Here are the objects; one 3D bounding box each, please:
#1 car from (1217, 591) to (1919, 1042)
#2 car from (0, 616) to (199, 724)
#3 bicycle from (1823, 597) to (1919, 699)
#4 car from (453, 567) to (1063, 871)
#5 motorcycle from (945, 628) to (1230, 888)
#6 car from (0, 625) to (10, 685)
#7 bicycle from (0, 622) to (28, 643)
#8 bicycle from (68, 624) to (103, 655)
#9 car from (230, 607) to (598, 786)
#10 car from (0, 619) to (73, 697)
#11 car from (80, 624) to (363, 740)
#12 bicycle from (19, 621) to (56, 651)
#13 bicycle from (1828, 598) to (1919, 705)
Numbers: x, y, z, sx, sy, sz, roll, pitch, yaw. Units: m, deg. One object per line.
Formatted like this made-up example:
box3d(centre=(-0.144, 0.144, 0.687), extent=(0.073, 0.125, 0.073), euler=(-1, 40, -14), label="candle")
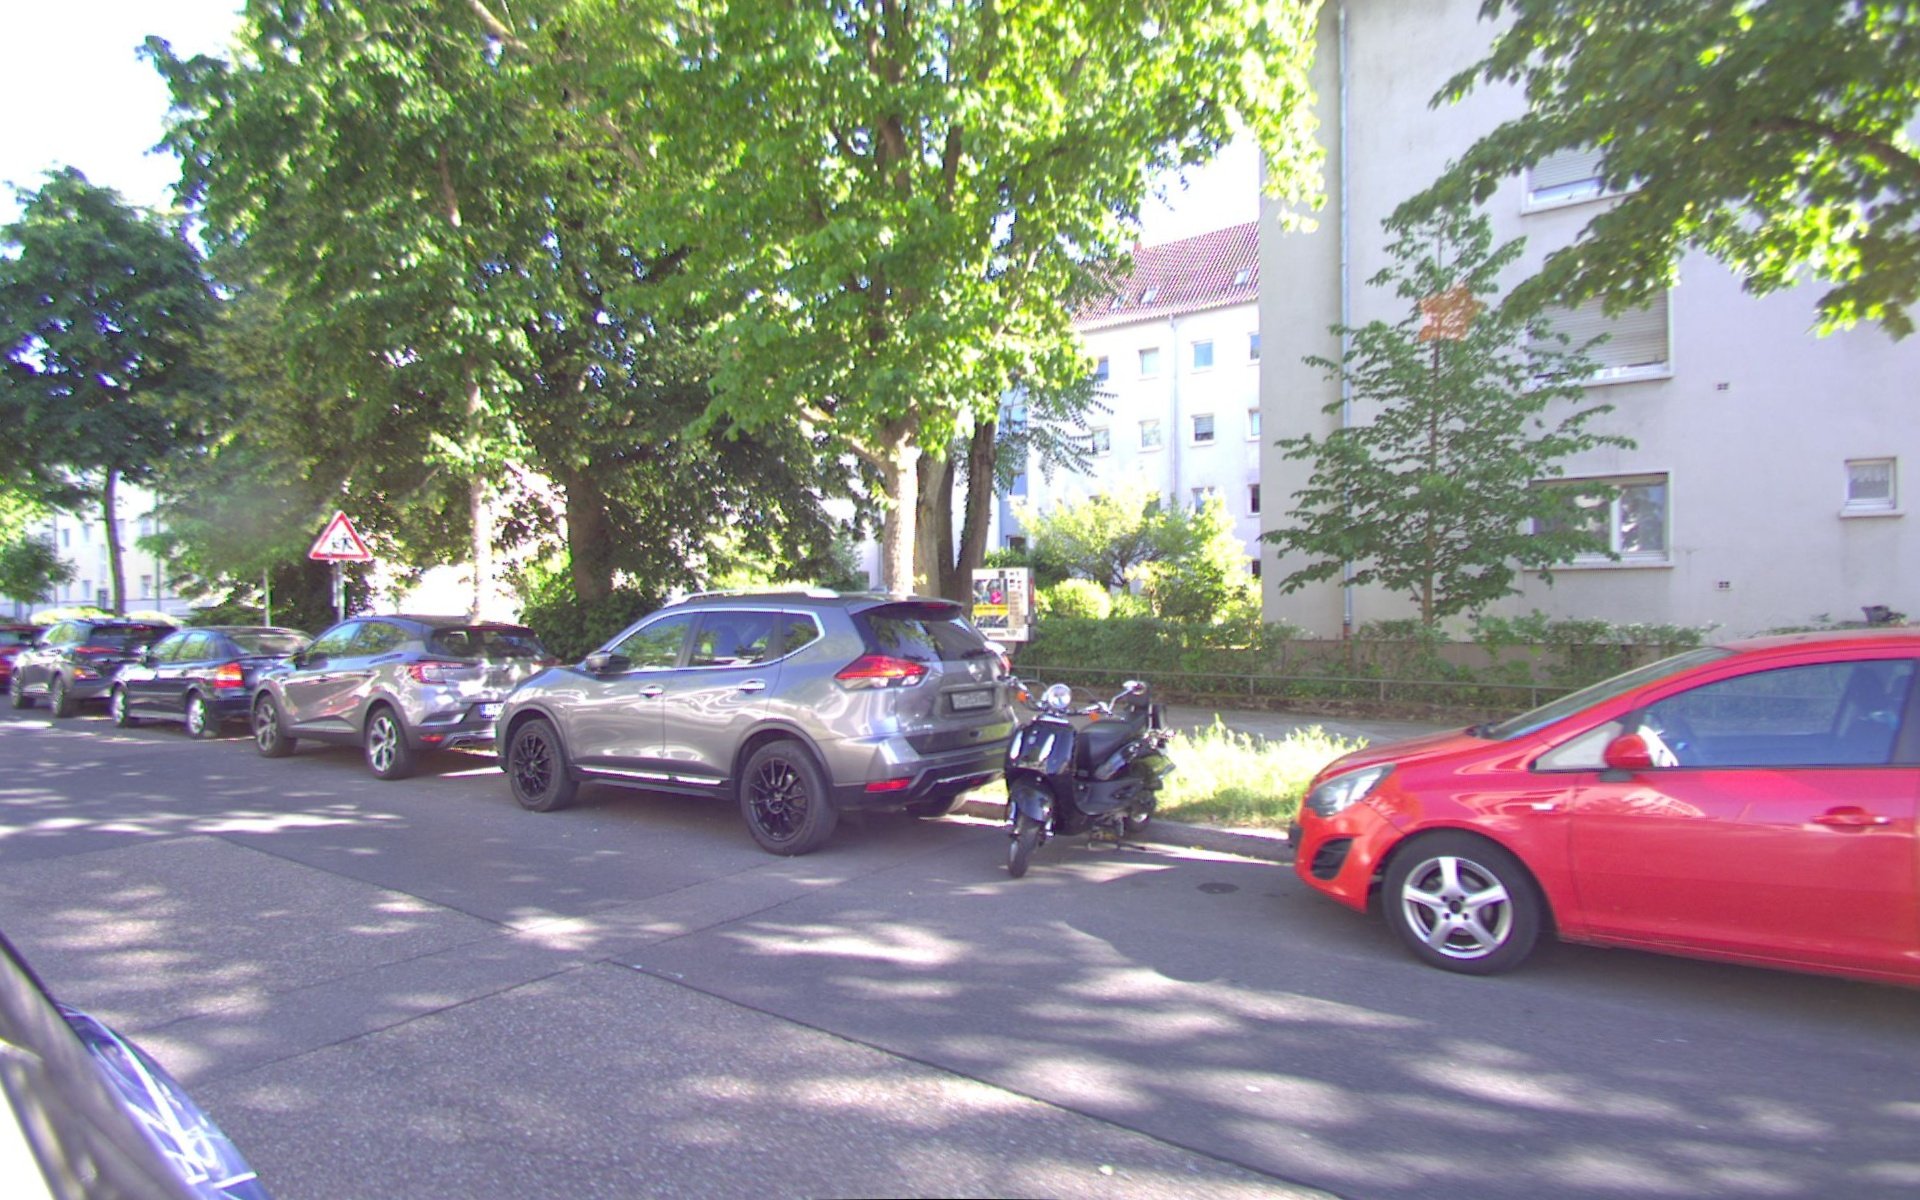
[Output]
box3d(centre=(3.428, 0.715, 4.256), extent=(4.173, 1.481, 1.840), euler=(-1, -1, 36), label="car")
box3d(centre=(-14.609, 1.083, 17.001), extent=(4.473, 1.589, 1.690), euler=(-1, -1, 36), label="car")
box3d(centre=(11.708, 0.571, 12.217), extent=(1.909, 1.210, 0.679), euler=(-1, -1, 38), label="bicycle")
box3d(centre=(-1.743, 0.709, 7.761), extent=(4.802, 1.701, 1.753), euler=(-1, -1, 34), label="car")
box3d(centre=(0.857, 0.860, 6.326), extent=(0.787, 1.342, 1.932), euler=(-1, -1, 43), label="motorcycle")
box3d(centre=(-24.164, 1.292, 23.902), extent=(4.178, 1.384, 1.640), euler=(-1, -1, 34), label="car")
box3d(centre=(-42.472, 1.469, 45.370), extent=(1.898, 0.923, 0.590), euler=(-1, -1, 34), label="bicycle")
box3d(centre=(-32.438, 1.452, 37.525), extent=(1.929, 1.069, 0.567), euler=(-1, 0, 36), label="bicycle")
box3d(centre=(-5.960, 0.878, 10.844), extent=(4.411, 1.543, 1.753), euler=(-1, -1, 36), label="car")
box3d(centre=(-20.376, 1.174, 21.258), extent=(4.058, 1.516, 1.640), euler=(-1, -1, 34), label="car")
box3d(centre=(-10.326, 1.030, 14.049), extent=(4.469, 1.363, 1.770), euler=(-1, -1, 34), label="car")
box3d(centre=(-37.795, 1.463, 41.457), extent=(2.255, 1.199, 0.590), euler=(-1, -1, 34), label="bicycle")
box3d(centre=(11.292, 0.583, 11.652), extent=(1.909, 1.210, 0.679), euler=(-1, -1, 38), label="bicycle")
